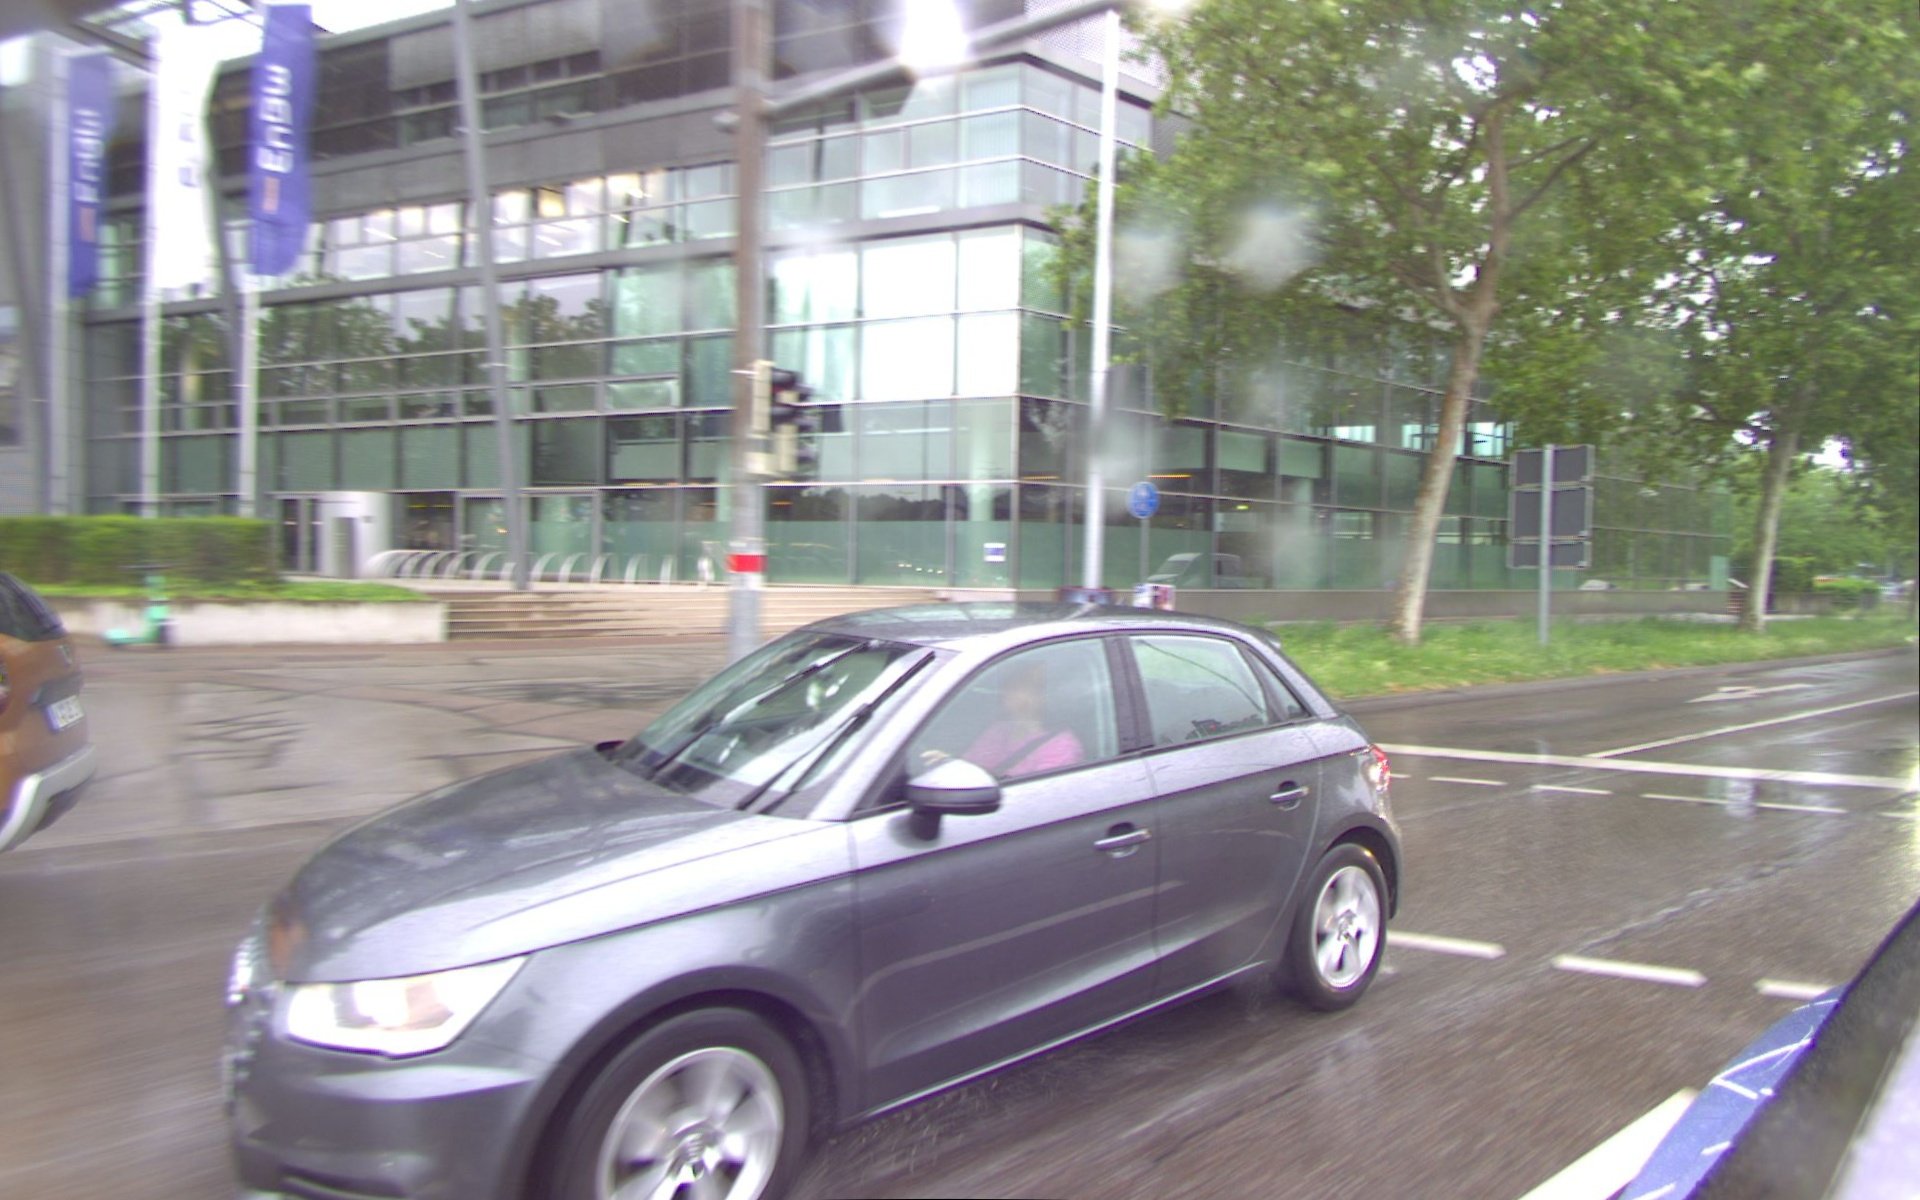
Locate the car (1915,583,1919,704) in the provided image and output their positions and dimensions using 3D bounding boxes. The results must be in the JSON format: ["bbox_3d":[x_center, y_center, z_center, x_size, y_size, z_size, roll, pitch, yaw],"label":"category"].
[{"bbox_3d":[13.851,0.415,12.585,4.245,1.769,2.001,0,2,-35],"label":"car"}]

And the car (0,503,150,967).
[{"bbox_3d":[-5.488,0.457,3.413,4.088,1.652,1.908,0,2,-32],"label":"car"}]

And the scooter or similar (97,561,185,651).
[{"bbox_3d":[-11.071,0.069,13.676,1.159,1.152,0.339,2,2,17],"label":"scooter or similar"}]

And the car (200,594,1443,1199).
[{"bbox_3d":[-0.225,0.706,3.392,3.684,1.415,1.841,-1,1,-37],"label":"car"}]
